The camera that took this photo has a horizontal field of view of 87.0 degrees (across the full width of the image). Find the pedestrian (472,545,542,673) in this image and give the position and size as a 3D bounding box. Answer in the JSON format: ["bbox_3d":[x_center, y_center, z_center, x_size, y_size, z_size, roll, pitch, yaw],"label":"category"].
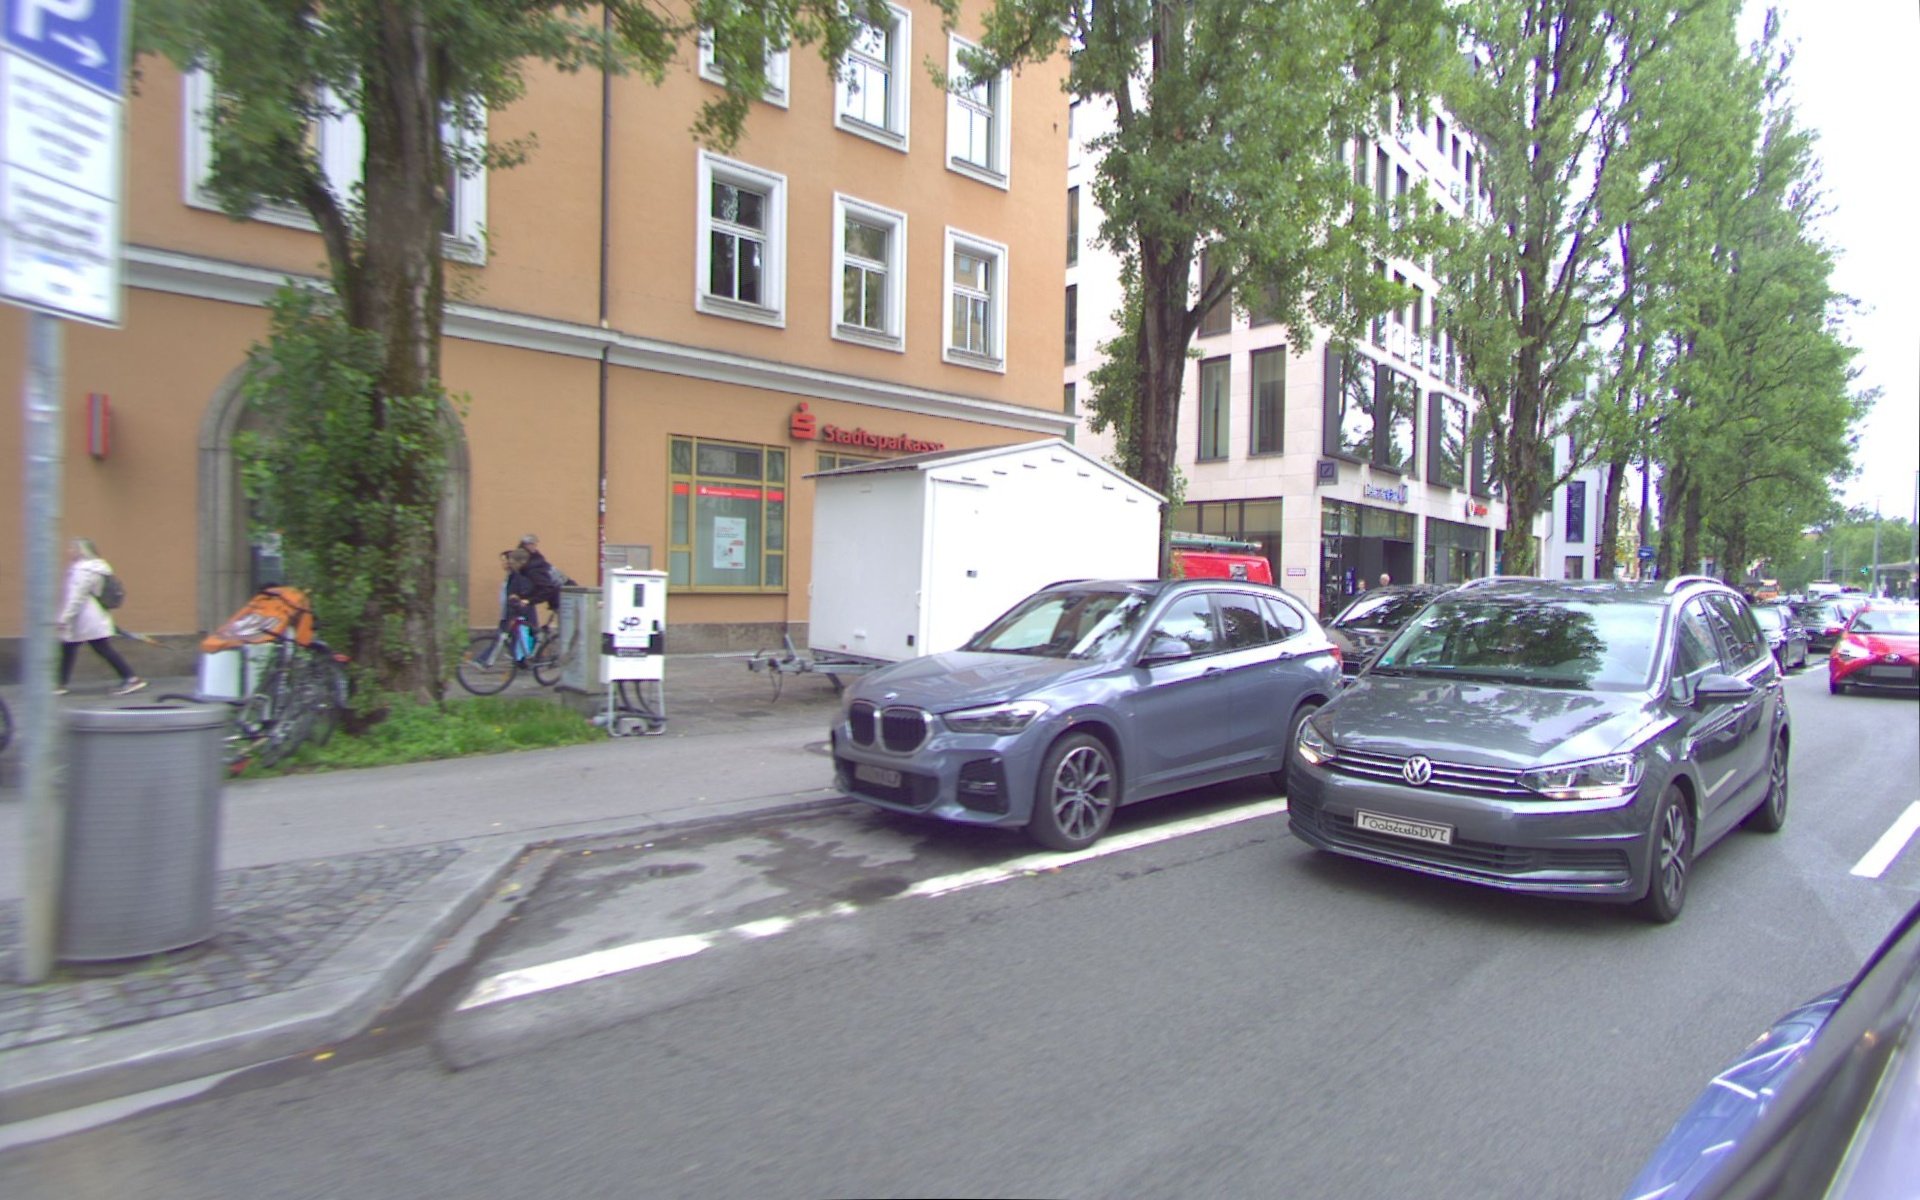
[{"bbox_3d":[-5.849,0.105,13.061,0.652,1.590,0.745,0,0,-40],"label":"pedestrian"}]

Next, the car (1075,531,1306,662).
[{"bbox_3d":[4.193,-0.078,18.289,3.919,2.149,1.687,0,1,-29],"label":"car"}]

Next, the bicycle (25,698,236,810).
[{"bbox_3d":[-5.416,0.952,6.573,1.671,0.378,0.818,4,3,42],"label":"bicycle"}]

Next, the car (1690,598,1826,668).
[{"bbox_3d":[17.532,0.651,22.166,3.934,1.378,1.698,0,0,-42],"label":"car"}]

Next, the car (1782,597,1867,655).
[{"bbox_3d":[25.355,0.711,29.653,1.695,1.535,3.937,0,0,43],"label":"car"}]

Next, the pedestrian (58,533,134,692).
[{"bbox_3d":[-8.981,0.119,10.542,0.564,1.590,0.699,0,0,-38],"label":"pedestrian"}]

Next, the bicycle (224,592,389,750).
[{"bbox_3d":[-5.033,0.503,7.759,1.593,1.098,0.319,1,1,28],"label":"bicycle"}]

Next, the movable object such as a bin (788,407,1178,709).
[{"bbox_3d":[0.390,-0.502,13.025,4.464,3.175,2.445,0,3,-41],"label":"movable object such as a bin"}]

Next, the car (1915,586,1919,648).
[{"bbox_3d":[28.227,0.471,28.640,1.702,1.714,3.941,0,0,43],"label":"car"}]

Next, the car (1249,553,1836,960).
[{"bbox_3d":[3.700,0.605,6.092,4.120,1.611,1.880,0,0,-42],"label":"car"}]

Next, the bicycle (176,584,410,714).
[{"bbox_3d":[-6.536,0.422,10.090,0.871,1.134,2.100,1,1,3],"label":"bicycle"}]

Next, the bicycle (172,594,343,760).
[{"bbox_3d":[-5.173,0.522,7.423,1.587,1.098,0.339,1,1,28],"label":"bicycle"}]

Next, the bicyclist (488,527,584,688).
[{"bbox_3d":[-4.668,0.075,11.179,0.734,1.708,0.741,1,1,0],"label":"bicyclist"}]

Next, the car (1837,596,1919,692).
[{"bbox_3d":[15.927,0.665,16.785,3.934,1.451,1.614,0,0,-42],"label":"car"}]

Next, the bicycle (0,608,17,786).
[{"bbox_3d":[-6.361,0.578,6.495,1.597,1.022,0.337,2,1,43],"label":"bicycle"}]

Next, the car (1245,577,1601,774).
[{"bbox_3d":[4.984,0.616,10.584,4.421,1.634,1.787,0,0,-42],"label":"car"}]

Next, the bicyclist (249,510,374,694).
[{"bbox_3d":[-6.528,0.011,10.217,0.816,1.779,0.667,1,1,3],"label":"bicyclist"}]

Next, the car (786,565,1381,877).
[{"bbox_3d":[1.120,0.596,7.260,4.421,1.572,1.787,0,0,-42],"label":"car"}]

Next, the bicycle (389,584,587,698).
[{"bbox_3d":[-5.205,0.397,11.332,0.729,1.134,2.086,1,1,22],"label":"bicycle"}]
